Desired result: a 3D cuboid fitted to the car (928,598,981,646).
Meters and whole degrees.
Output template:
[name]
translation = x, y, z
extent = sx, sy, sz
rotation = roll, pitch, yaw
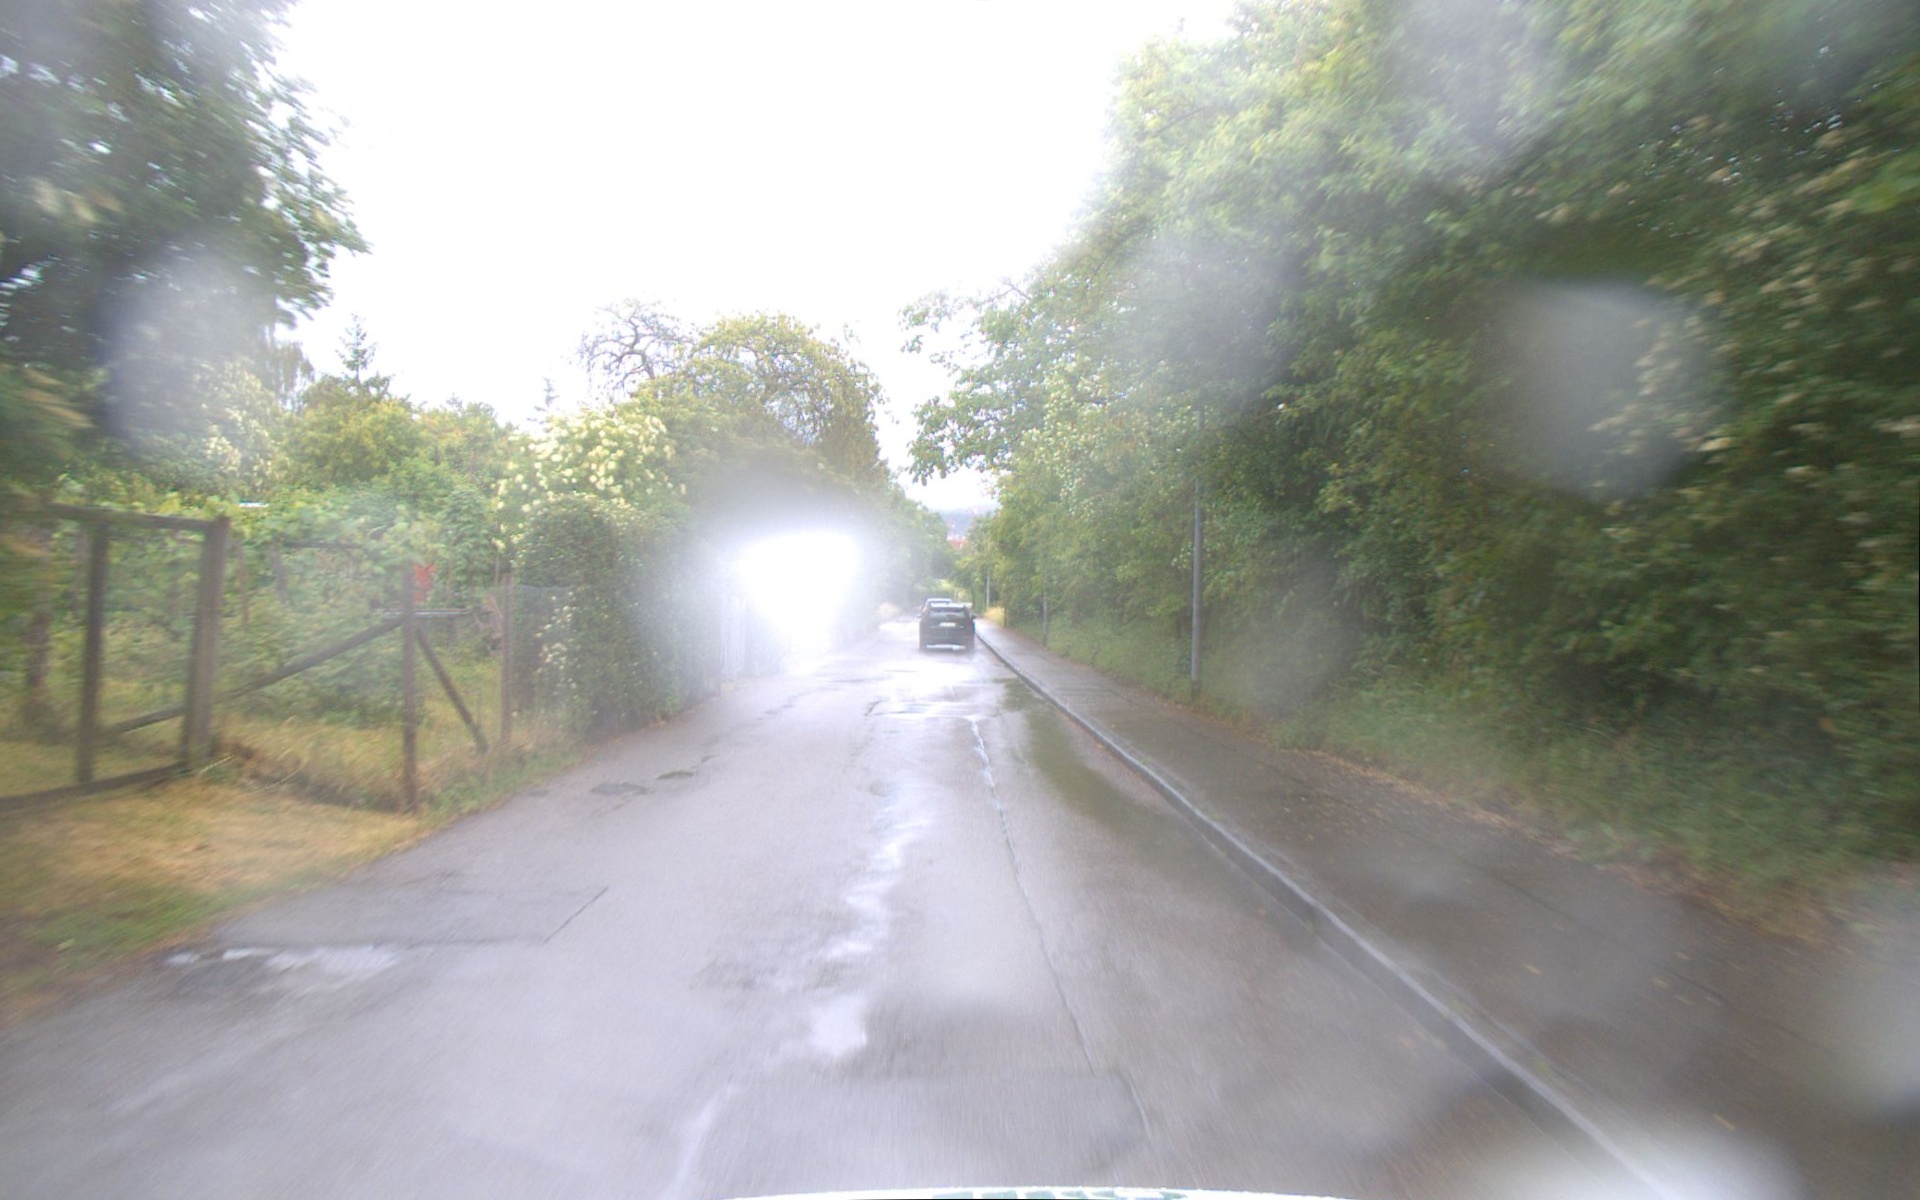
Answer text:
[car]
translation = -0.156, 0.703, 52.429
extent = 1.601, 1.476, 3.545
rotation = 0, -1, 1
